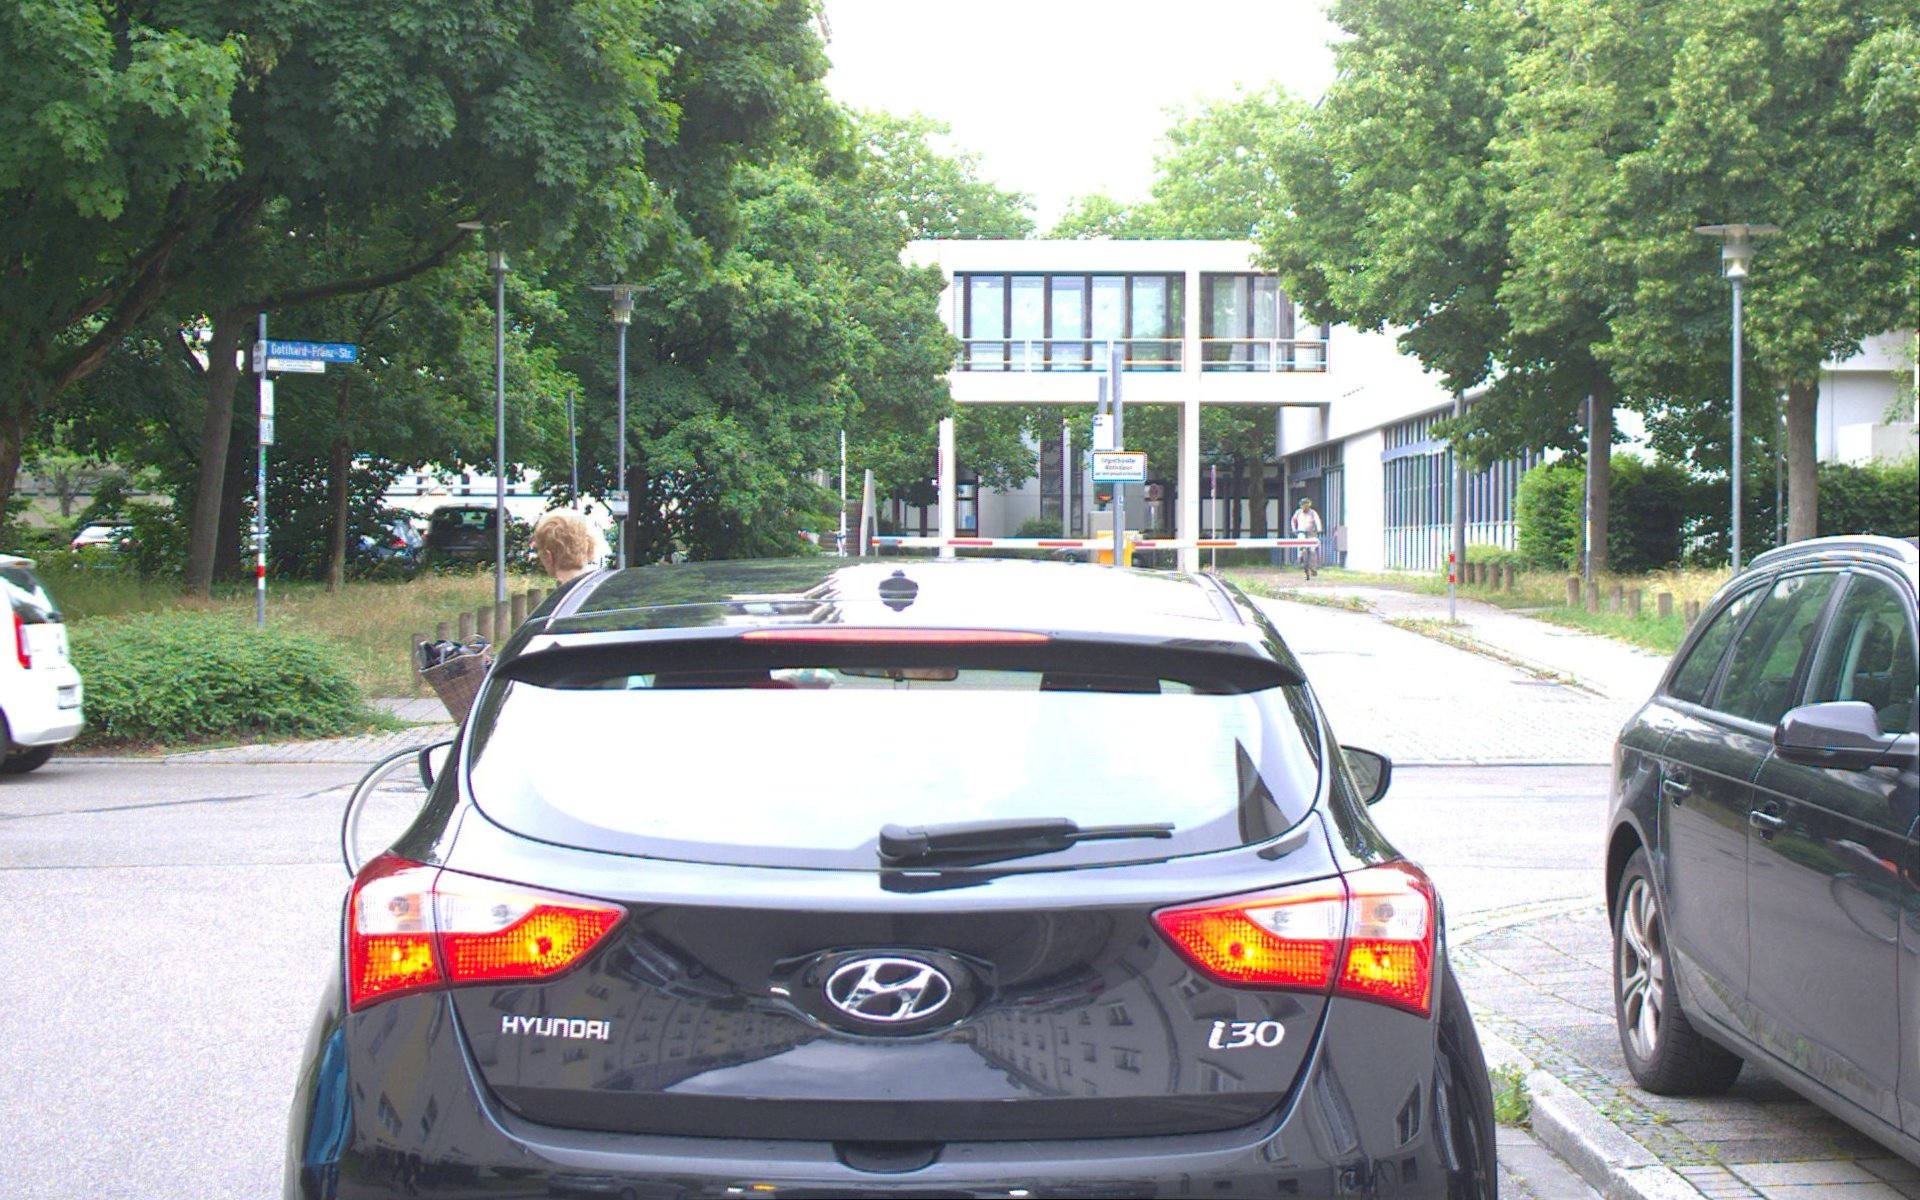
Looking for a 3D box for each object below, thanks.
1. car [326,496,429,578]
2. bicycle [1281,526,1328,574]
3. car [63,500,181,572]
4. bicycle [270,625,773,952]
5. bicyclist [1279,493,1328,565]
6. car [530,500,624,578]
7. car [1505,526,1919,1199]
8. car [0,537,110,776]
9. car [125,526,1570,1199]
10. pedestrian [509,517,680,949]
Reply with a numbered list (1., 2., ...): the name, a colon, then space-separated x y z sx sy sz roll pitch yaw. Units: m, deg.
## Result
1. car: -13.404 -1.424 79.294 1.993 1.788 4.000 0 0 -4
2. bicycle: 7.898 -1.153 78.922 0.866 1.071 2.142 0 2 1
3. car: -19.230 -1.473 79.038 1.993 1.612 4.001 0 1 -4
4. bicycle: -1.653 0.695 13.003 1.812 1.115 0.538 -2 2 -8
5. bicyclist: 7.883 -1.634 78.937 1.017 1.639 0.923 0 2 1
6. car: -8.800 -1.381 79.237 1.993 1.756 4.001 0 0 -4
7. car: 2.603 0.574 7.539 1.860 1.457 4.726 -1 1 -2
8. car: -7.266 0.325 21.524 3.532 1.432 1.567 0 1 -2
9. car: -0.231 0.614 6.323 1.846 1.457 3.828 0 1 -3
10. pedestrian: -1.349 0.475 12.669 0.565 1.544 0.448 -2 2 -7
